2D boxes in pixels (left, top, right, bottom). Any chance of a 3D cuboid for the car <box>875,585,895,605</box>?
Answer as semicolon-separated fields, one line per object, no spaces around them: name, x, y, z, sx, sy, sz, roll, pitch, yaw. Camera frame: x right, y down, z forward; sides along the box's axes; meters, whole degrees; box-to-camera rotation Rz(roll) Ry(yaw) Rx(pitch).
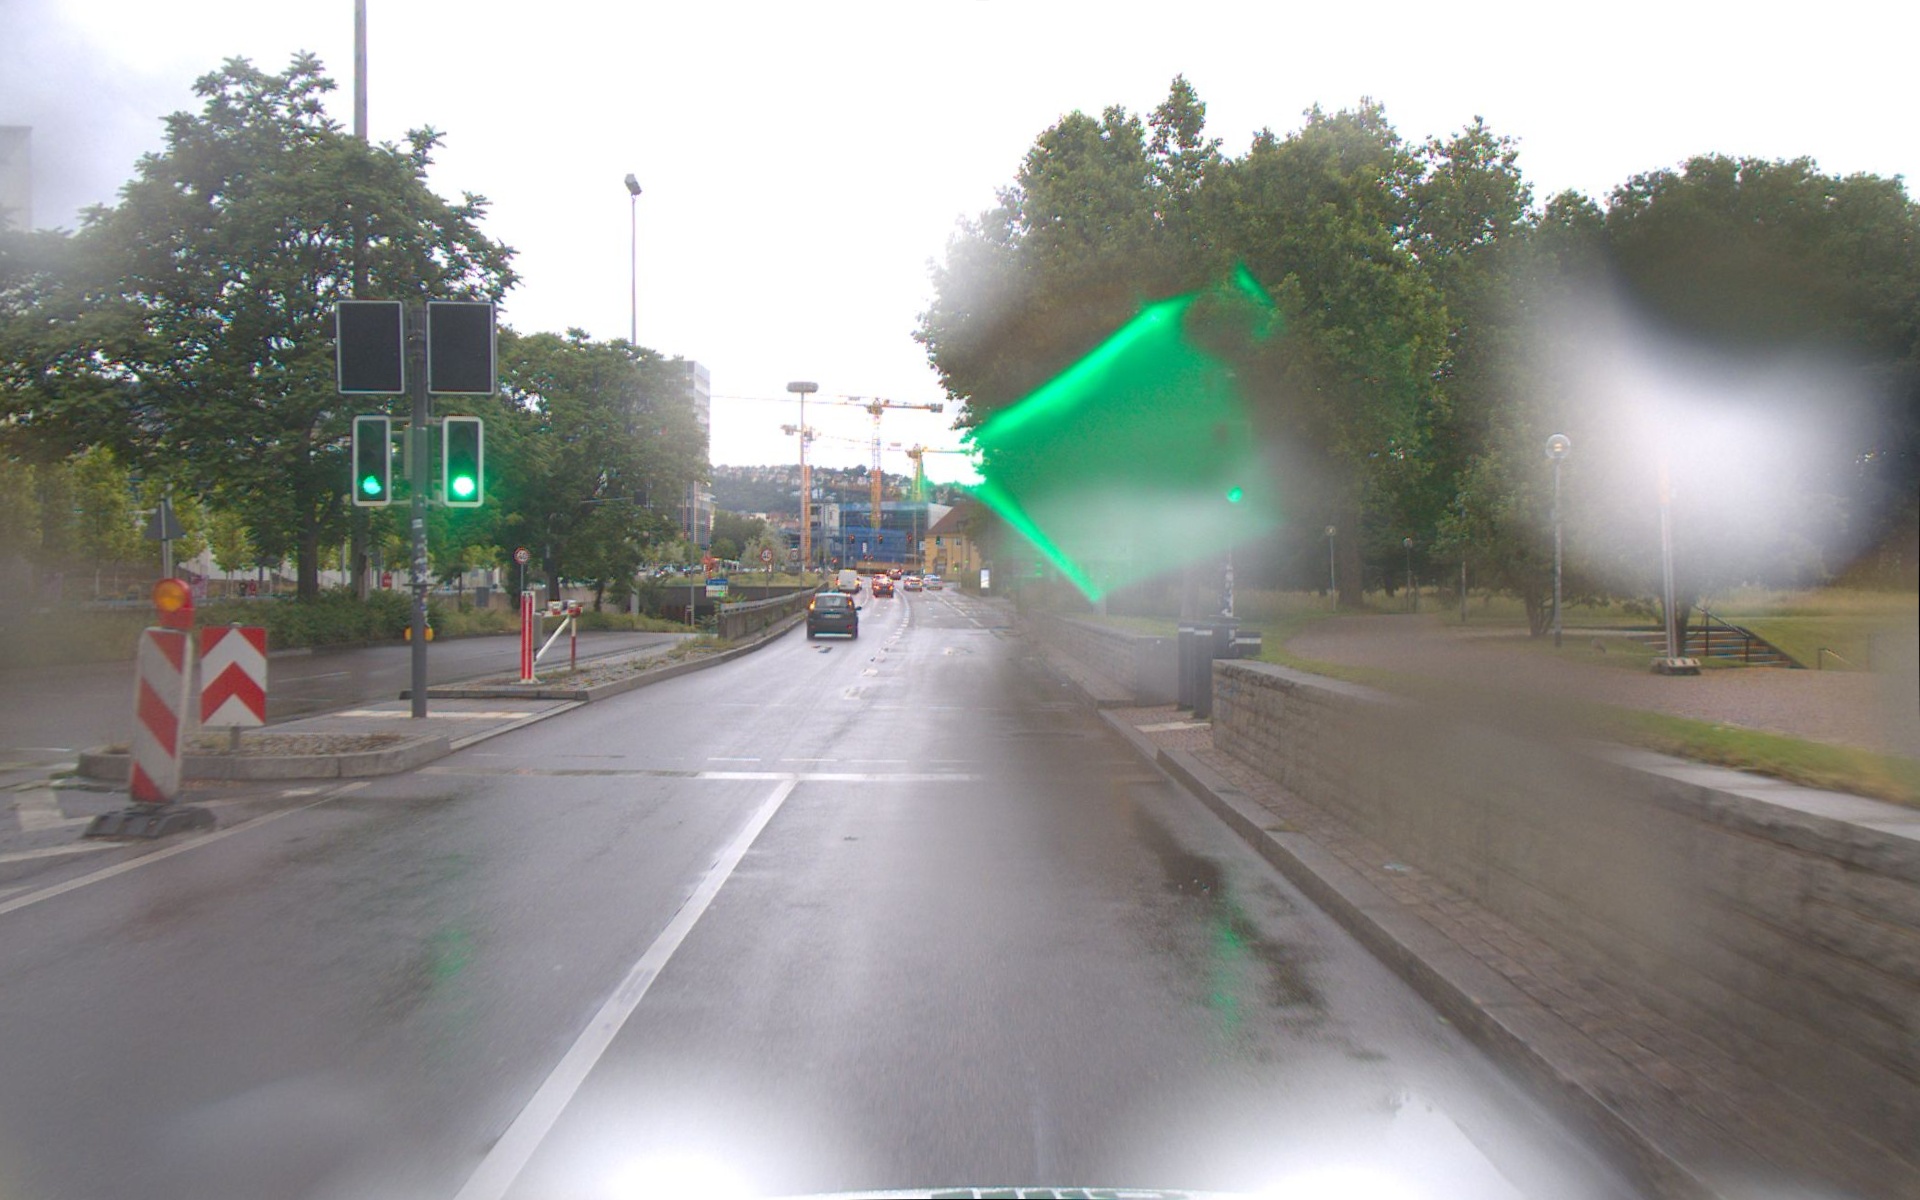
car;-7.170;-0.448;157.889;1.703;1.802;3.999;-2;0;-1

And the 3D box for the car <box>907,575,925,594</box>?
car;-4.996;-1.776;187.015;1.947;2.049;3.998;-2;0;-2

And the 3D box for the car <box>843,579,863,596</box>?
car;-12.002;-1.436;185.640;1.953;1.814;3.999;-2;0;0

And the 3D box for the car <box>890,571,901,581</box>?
car;-9.877;-3.705;253.660;1.686;1.584;3.583;0;0;0

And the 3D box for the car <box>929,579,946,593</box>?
car;-2.731;-1.684;198.950;1.953;1.627;3.999;-2;0;0

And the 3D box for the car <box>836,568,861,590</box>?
car;-11.336;-2.148;168.096;2.174;2.049;3.999;-2;0;0

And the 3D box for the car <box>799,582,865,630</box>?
car;-4.169;0.216;53.560;1.810;1.441;3.831;-2;0;-9

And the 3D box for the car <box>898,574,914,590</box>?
car;-6.288;-2.118;192.443;1.678;1.719;3.848;-2;0;0

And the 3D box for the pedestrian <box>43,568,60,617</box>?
pedestrian;-38.155;-0.322;69.461;0.536;2.049;0.523;-1;-1;-38

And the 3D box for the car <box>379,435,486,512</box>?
car;-13.522;-3.218;42.620;1.956;1.661;3.993;0;0;-8
